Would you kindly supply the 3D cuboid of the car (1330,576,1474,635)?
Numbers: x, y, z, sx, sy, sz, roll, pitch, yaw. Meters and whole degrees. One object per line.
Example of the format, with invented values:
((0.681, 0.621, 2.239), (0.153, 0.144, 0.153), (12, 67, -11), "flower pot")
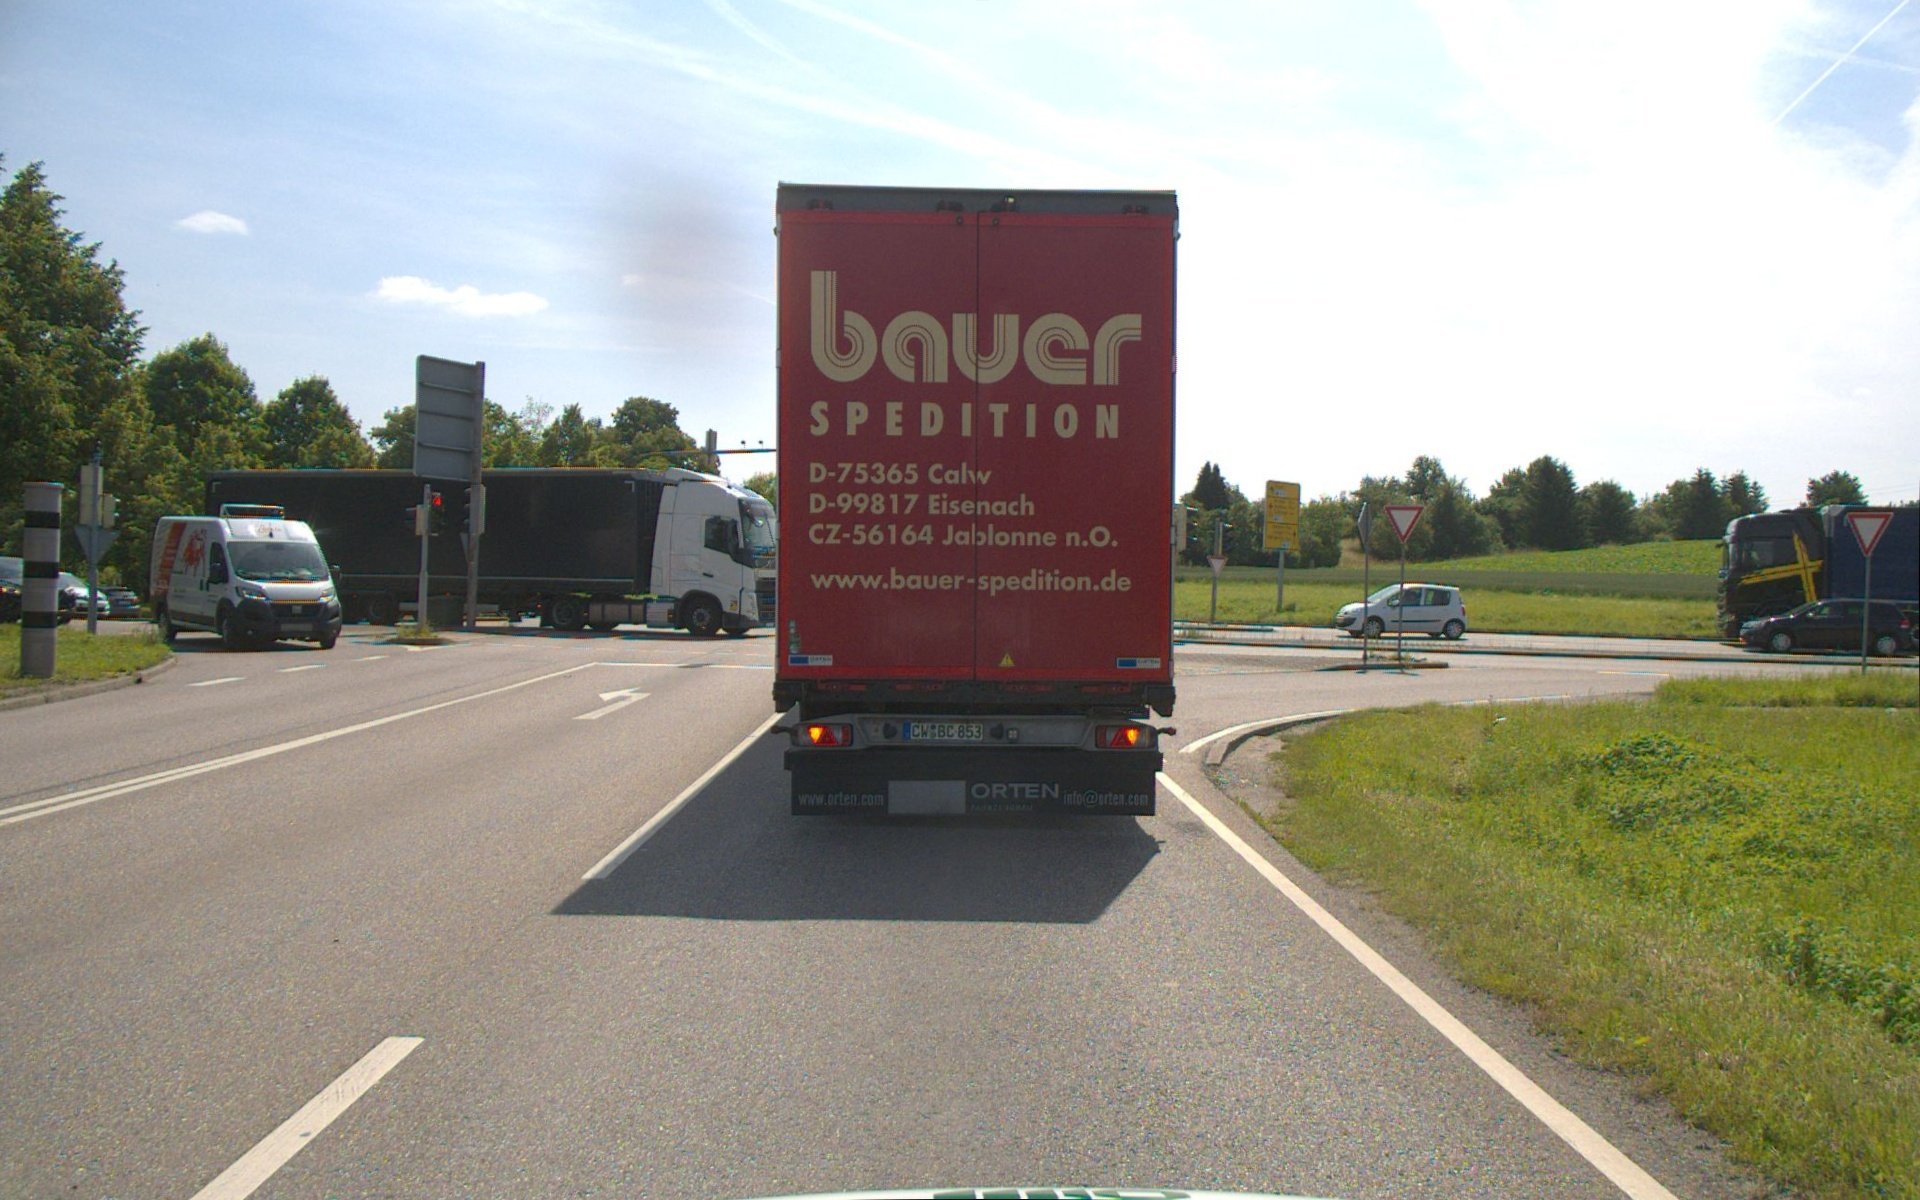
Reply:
((13.093, 0.171, 49.105), (3.752, 1.662, 1.759), (1, -1, -5), "car")

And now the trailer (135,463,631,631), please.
((-15.470, -1.489, 44.073), (13.396, 4.132, 2.800), (2, 1, 17), "trailer")

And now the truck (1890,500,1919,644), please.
((33.768, -0.620, 45.379), (13.992, 4.049, 3.027), (2, 1, 23), "truck")

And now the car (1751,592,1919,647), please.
((23.021, 0.512, 43.429), (3.905, 1.333, 1.766), (1, -1, 21), "car")

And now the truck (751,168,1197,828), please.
((0.005, -0.720, 18.434), (2.679, 3.993, 16.624), (1, 1, -1), "truck")

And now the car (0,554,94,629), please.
((-23.639, -0.207, 41.594), (4.033, 1.780, 1.863), (1, -1, 40), "car")

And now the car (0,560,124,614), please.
((-26.910, -0.405, 48.561), (4.157, 1.486, 1.811), (2, 0, 18), "car")

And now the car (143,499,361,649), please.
((-14.103, -0.527, 32.721), (2.107, 2.700, 5.893), (1, 1, -42), "car")

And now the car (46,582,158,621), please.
((-34.094, 0.053, 65.730), (3.908, 1.454, 1.998), (1, 0, 26), "car")

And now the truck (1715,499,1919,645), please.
((26.047, -0.835, 48.521), (6.787, 4.063, 3.028), (2, 1, 20), "truck")

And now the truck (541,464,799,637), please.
((-7.243, -1.269, 41.636), (5.702, 4.132, 2.801), (1, 1, 14), "truck")
